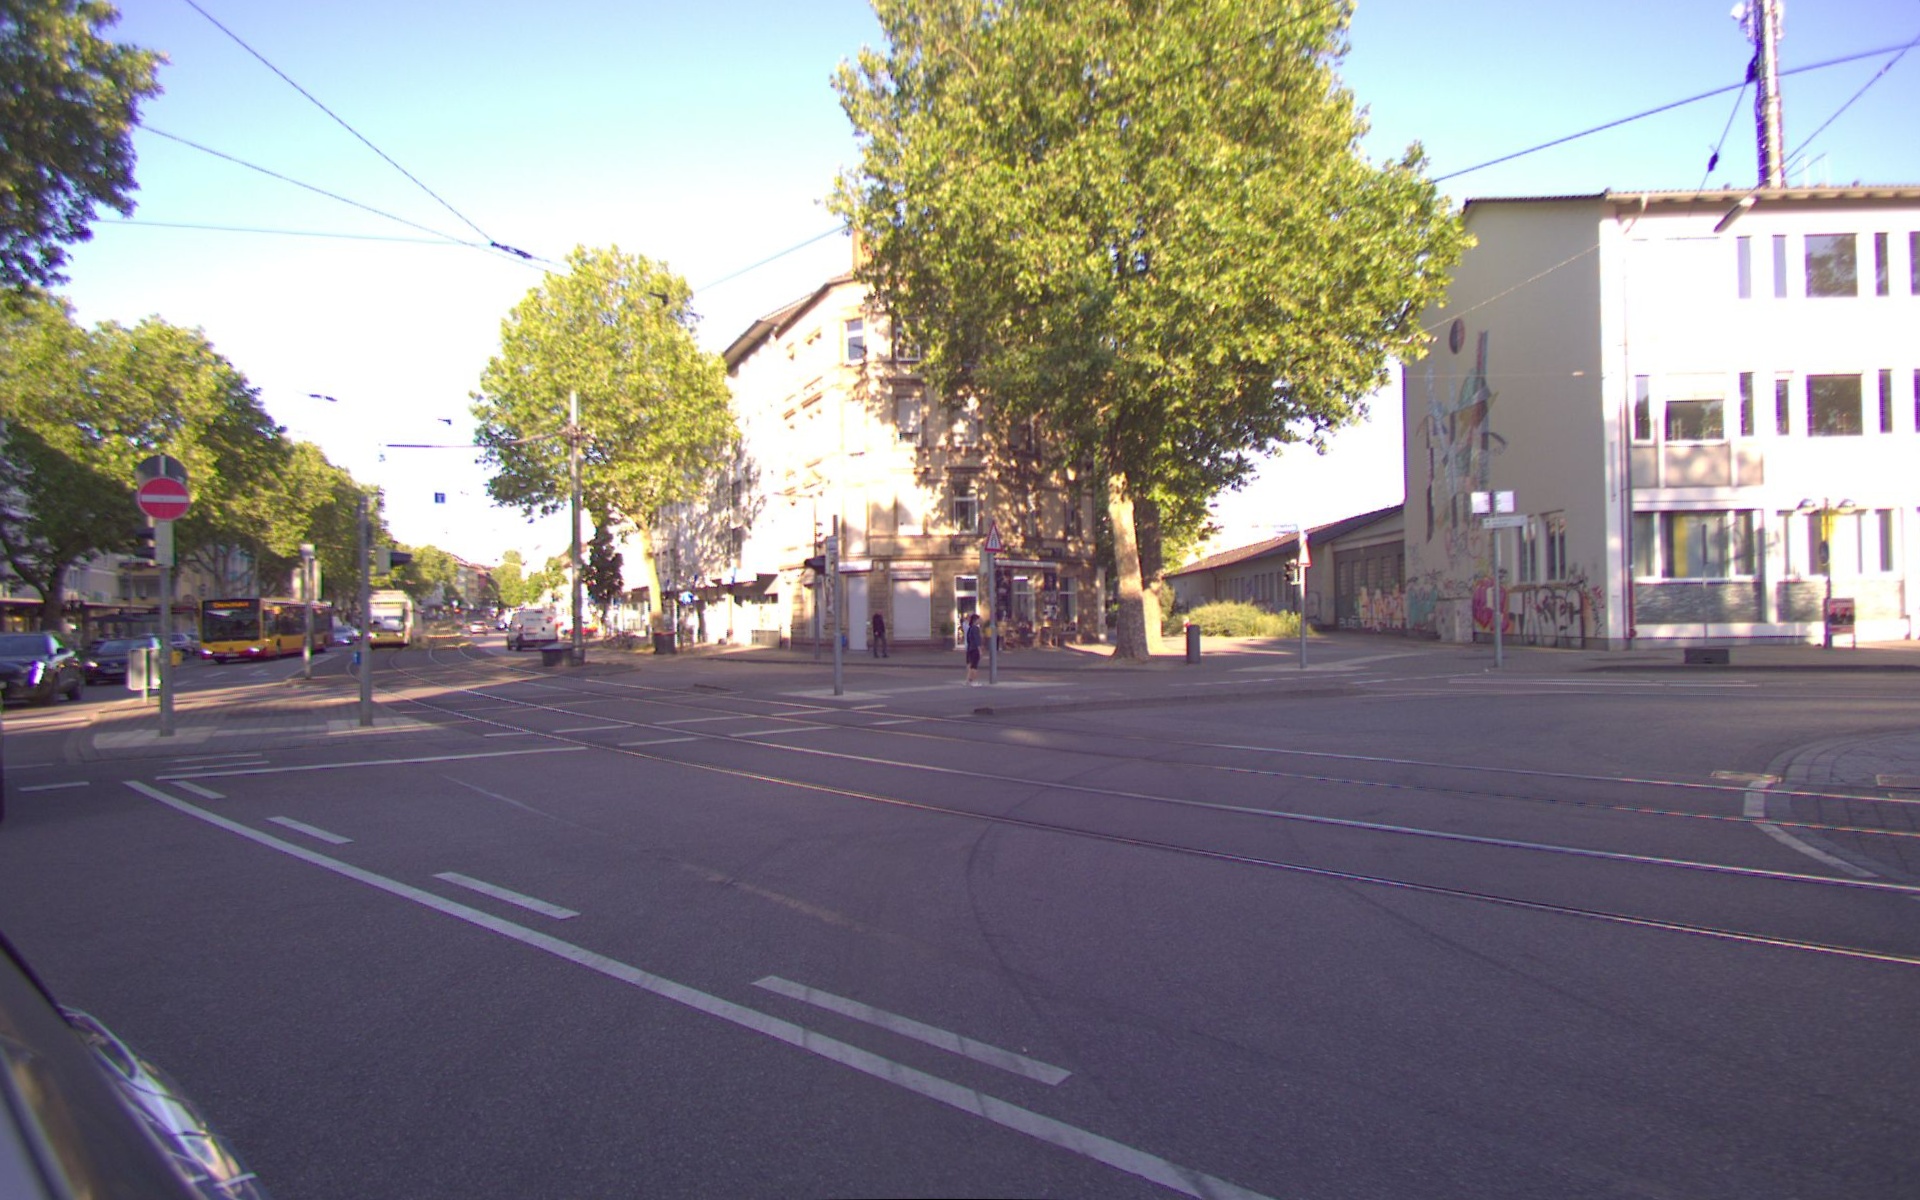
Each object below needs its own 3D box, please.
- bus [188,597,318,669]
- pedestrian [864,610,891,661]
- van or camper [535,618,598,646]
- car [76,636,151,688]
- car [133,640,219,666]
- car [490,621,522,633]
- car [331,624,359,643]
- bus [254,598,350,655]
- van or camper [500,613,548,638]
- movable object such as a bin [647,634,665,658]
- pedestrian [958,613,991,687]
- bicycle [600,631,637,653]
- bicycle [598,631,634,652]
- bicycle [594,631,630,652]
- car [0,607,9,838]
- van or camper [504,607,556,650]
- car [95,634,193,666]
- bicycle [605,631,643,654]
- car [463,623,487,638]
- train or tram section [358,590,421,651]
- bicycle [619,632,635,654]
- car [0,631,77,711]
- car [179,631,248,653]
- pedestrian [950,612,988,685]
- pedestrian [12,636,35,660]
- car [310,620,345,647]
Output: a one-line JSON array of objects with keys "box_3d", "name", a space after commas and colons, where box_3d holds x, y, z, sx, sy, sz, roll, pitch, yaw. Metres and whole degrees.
[{"box_3d": [-35.039, 1.451, 50.725, 2.824, 3.000, 12.281, -3, 1, -23], "name": "bus"}, {"box_3d": [-3.074, 1.311, 37.642, 0.610, 1.801, 0.974, -3, 0, -23], "name": "pedestrian"}, {"box_3d": [-31.226, 2.536, 80.464, 1.937, 1.912, 4.783, -3, 0, 20], "name": "van or camper"}, {"box_3d": [-27.167, 1.950, 32.564, 1.633, 1.497, 4.169, -1, -1, -37], "name": "car"}, {"box_3d": [-48.364, 3.249, 62.492, 1.647, 1.447, 3.974, 0, -1, 19], "name": "car"}, {"box_3d": [-68.310, 4.072, 152.305, 1.768, 1.501, 3.864, -3, 0, 40], "name": "car"}, {"box_3d": [-56.959, 3.116, 93.725, 1.965, 1.652, 4.013, -1, -1, -28], "name": "car"}, {"box_3d": [-39.991, 1.447, 61.951, 2.824, 3.000, 12.281, -3, 1, -23], "name": "bus"}, {"box_3d": [-52.172, 2.973, 121.363, 1.978, 2.687, 6.378, -3, 0, 10], "name": "van or camper"}, {"box_3d": [-14.337, 2.175, 47.754, 0.540, 1.102, 0.645, -1, -2, 12], "name": "movable object such as a bin"}, {"box_3d": [0.305, 1.033, 21.047, 0.516, 1.515, 0.405, -2, -1, 34], "name": "pedestrian"}, {"box_3d": [-19.285, 2.354, 57.167, 1.867, 1.133, 0.654, -2, -1, -30], "name": "bicycle"}, {"box_3d": [-19.669, 2.366, 57.875, 1.867, 1.133, 0.536, -2, -1, -30], "name": "bicycle"}, {"box_3d": [-20.277, 2.389, 58.977, 1.867, 1.133, 0.536, -2, -1, -30], "name": "bicycle"}, {"box_3d": [-8.947, 0.916, 7.946, 3.998, 1.660, 1.785, -2, -1, 41], "name": "car"}, {"box_3d": [-24.156, 1.639, 56.738, 2.137, 2.337, 5.119, 1, -3, -29], "name": "van or camper"}, {"box_3d": [-45.178, 2.750, 56.153, 1.792, 1.618, 3.981, -1, -1, 15], "name": "car"}, {"box_3d": [-18.457, 2.318, 55.659, 1.867, 1.133, 0.654, -2, -1, -30], "name": "bicycle"}, {"box_3d": [-52.042, 3.279, 108.645, 1.860, 1.483, 4.219, -1, -1, -32], "name": "car"}, {"box_3d": [-36.081, 1.295, 64.301, 2.595, 3.476, 11.166, -2, 0, -26], "name": "train or tram section"}, {"box_3d": [-17.573, 2.249, 53.346, 0.501, 1.133, 1.917, -2, 0, -26], "name": "bicycle"}, {"box_3d": [-20.540, 1.492, 21.948, 1.632, 1.593, 4.010, -1, -1, -34], "name": "car"}, {"box_3d": [-56.972, 3.176, 77.297, 1.649, 1.575, 3.970, 0, -1, 22], "name": "car"}, {"box_3d": [0.201, 1.032, 21.576, 0.592, 1.515, 0.516, -2, -1, 34], "name": "pedestrian"}, {"box_3d": [-55.908, 2.877, 60.425, 0.738, 1.372, 0.965, -1, -1, -23], "name": "pedestrian"}, {"box_3d": [-47.616, 2.534, 76.255, 1.965, 1.918, 4.013, -1, -1, -28], "name": "car"}]
